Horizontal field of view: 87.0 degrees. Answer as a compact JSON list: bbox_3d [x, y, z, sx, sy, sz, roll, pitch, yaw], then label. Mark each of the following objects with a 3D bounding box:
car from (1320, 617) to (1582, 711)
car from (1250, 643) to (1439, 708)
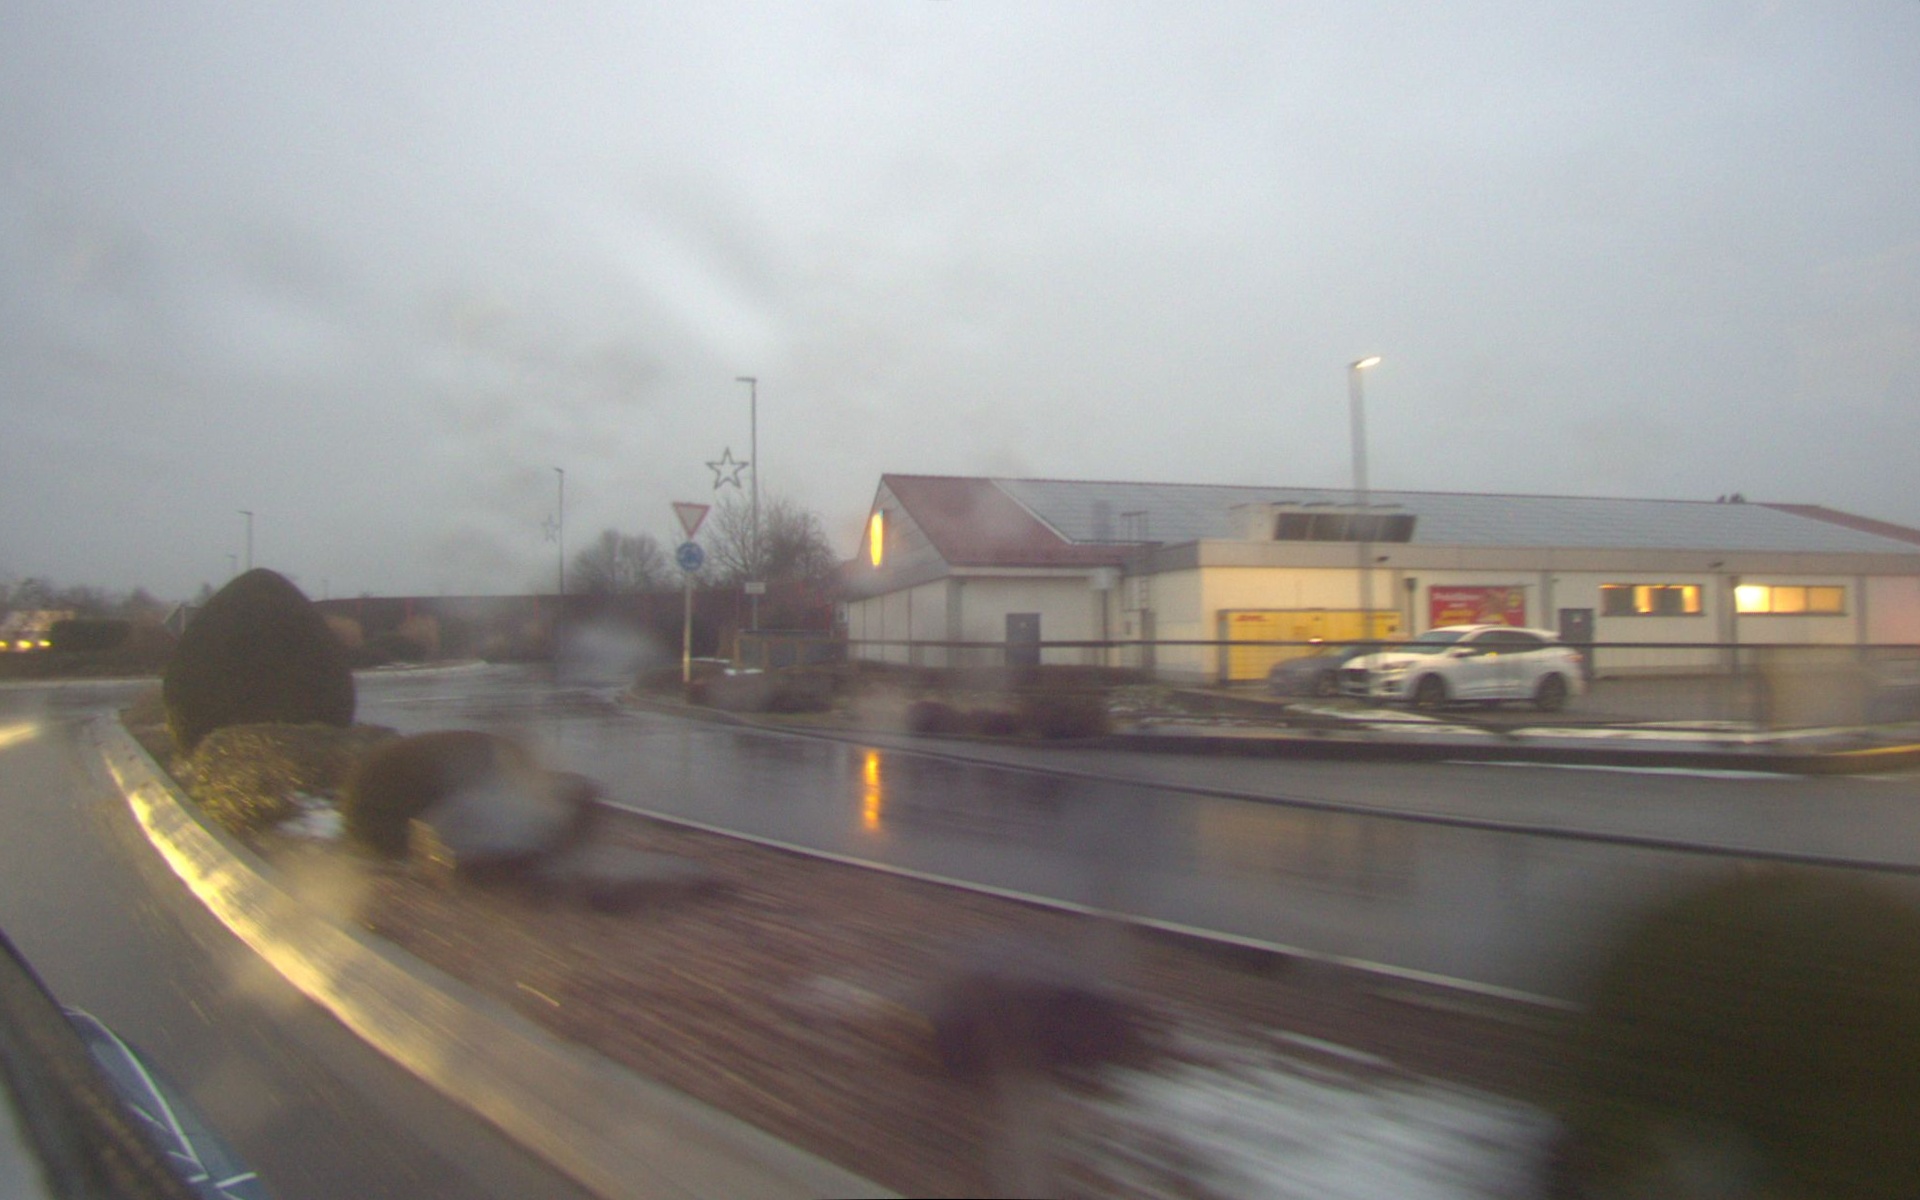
[{"bbox_3d":[9.517,1.180,19.761,4.209,1.573,2.070,-1,0,-13],"label":"car"},{"bbox_3d":[9.363,1.812,24.751,3.933,1.321,1.846,-1,0,-13],"label":"car"}]
